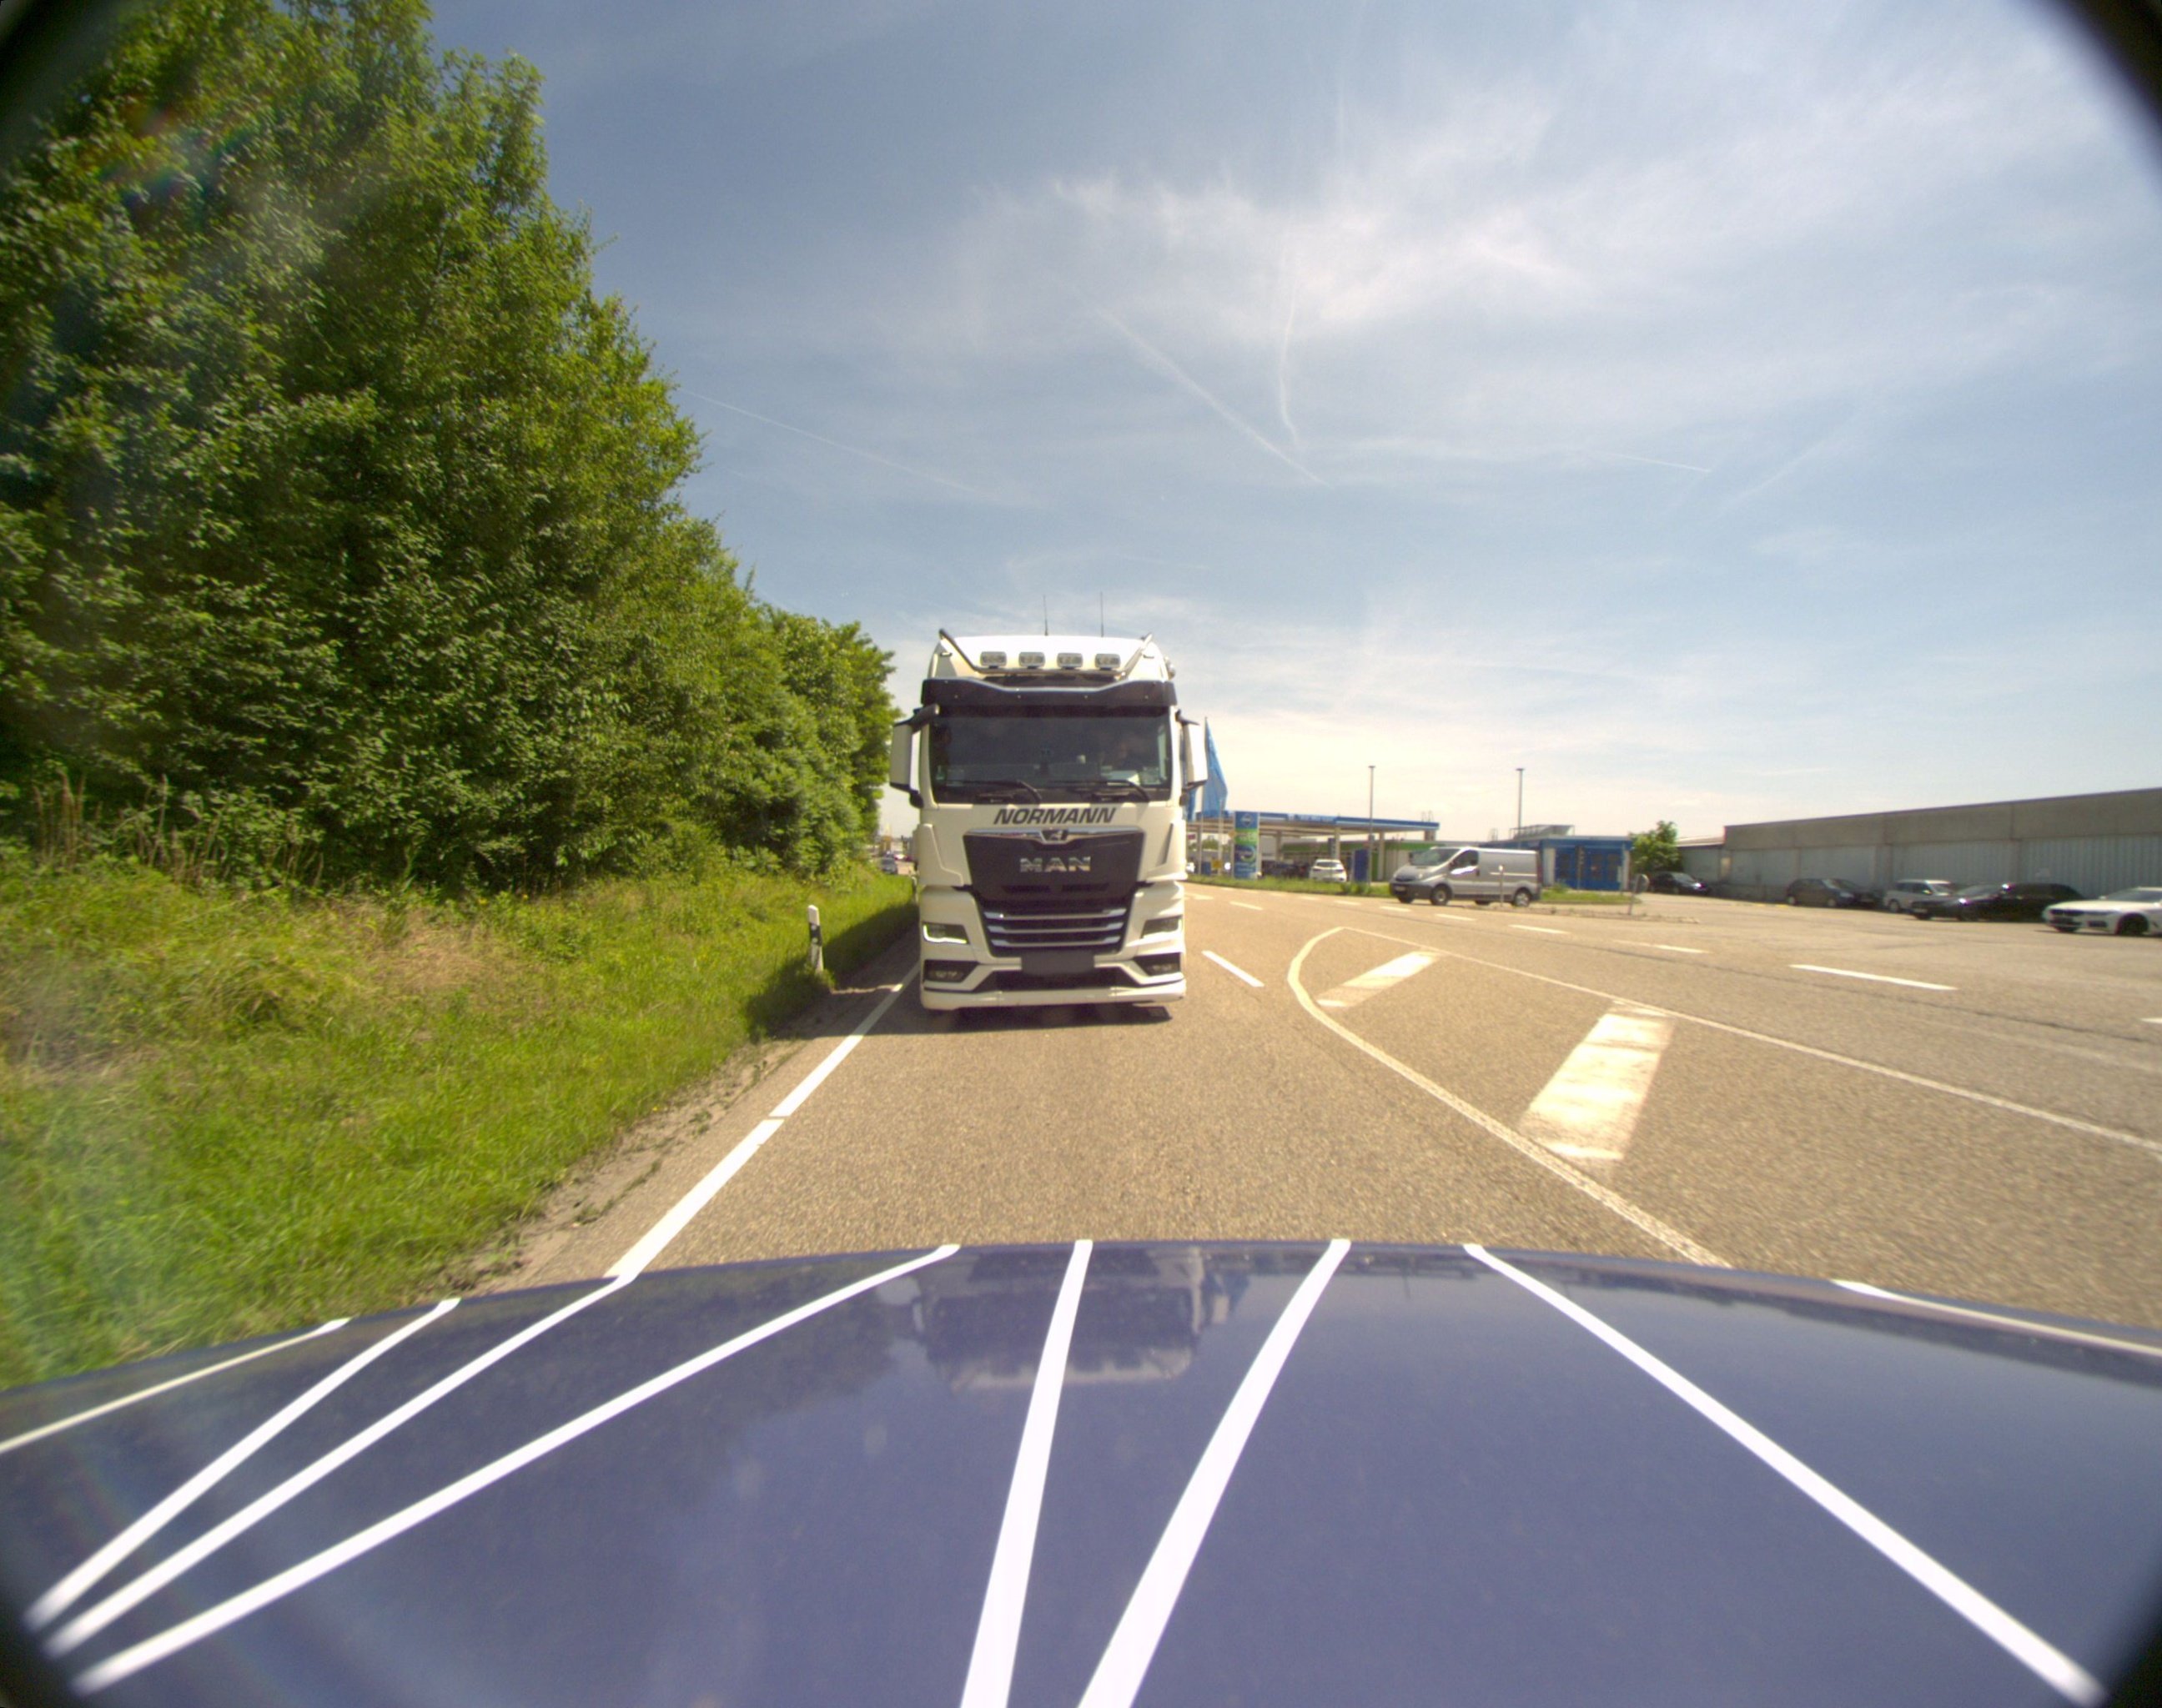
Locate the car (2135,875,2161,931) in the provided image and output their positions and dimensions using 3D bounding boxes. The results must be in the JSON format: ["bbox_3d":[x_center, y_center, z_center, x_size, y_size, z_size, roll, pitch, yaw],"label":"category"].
[{"bbox_3d":[31.013,1.377,19.839,3.862,1.487,1.846,1,0,11],"label":"car"}]

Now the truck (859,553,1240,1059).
[{"bbox_3d":[-1.170,-0.614,15.033,2.982,4.071,17.619,-3,2,-6],"label":"truck"}]

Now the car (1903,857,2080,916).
[{"bbox_3d":[32.869,1.133,27.555,3.993,2.002,1.600,0,0,11],"label":"car"}]

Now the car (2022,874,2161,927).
[{"bbox_3d":[31.462,1.395,22.619,3.993,1.433,2.002,1,0,10],"label":"car"}]

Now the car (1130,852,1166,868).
[{"bbox_3d":[8.238,0.690,93.947,4.001,1.892,1.998,1,0,-11],"label":"car"}]

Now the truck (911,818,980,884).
[{"bbox_3d":[-11.192,-0.318,60.997,2.985,4.447,16.424,-3,2,-18],"label":"truck"}]

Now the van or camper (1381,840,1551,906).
[{"bbox_3d":[12.649,0.619,25.039,4.866,1.893,1.902,3,0,-13],"label":"van or camper"}]

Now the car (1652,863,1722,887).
[{"bbox_3d":[39.000,1.342,48.990,1.757,1.433,3.902,0,0,8],"label":"car"}]

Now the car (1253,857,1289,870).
[{"bbox_3d":[20.933,1.061,84.049,2.001,1.370,4.377,1,0,-14],"label":"car"}]

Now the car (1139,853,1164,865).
[{"bbox_3d":[9.069,0.619,98.359,1.713,1.526,3.993,0,0,-20],"label":"car"}]

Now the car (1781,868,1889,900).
[{"bbox_3d":[36.800,1.431,37.225,1.757,1.433,3.902,0,0,8],"label":"car"}]

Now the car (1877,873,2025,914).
[{"bbox_3d":[35.190,1.536,30.925,1.915,1.420,4.107,1,0,14],"label":"car"}]

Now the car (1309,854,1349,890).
[{"bbox_3d":[13.187,0.898,40.598,1.865,1.702,4.524,0,1,16],"label":"car"}]
